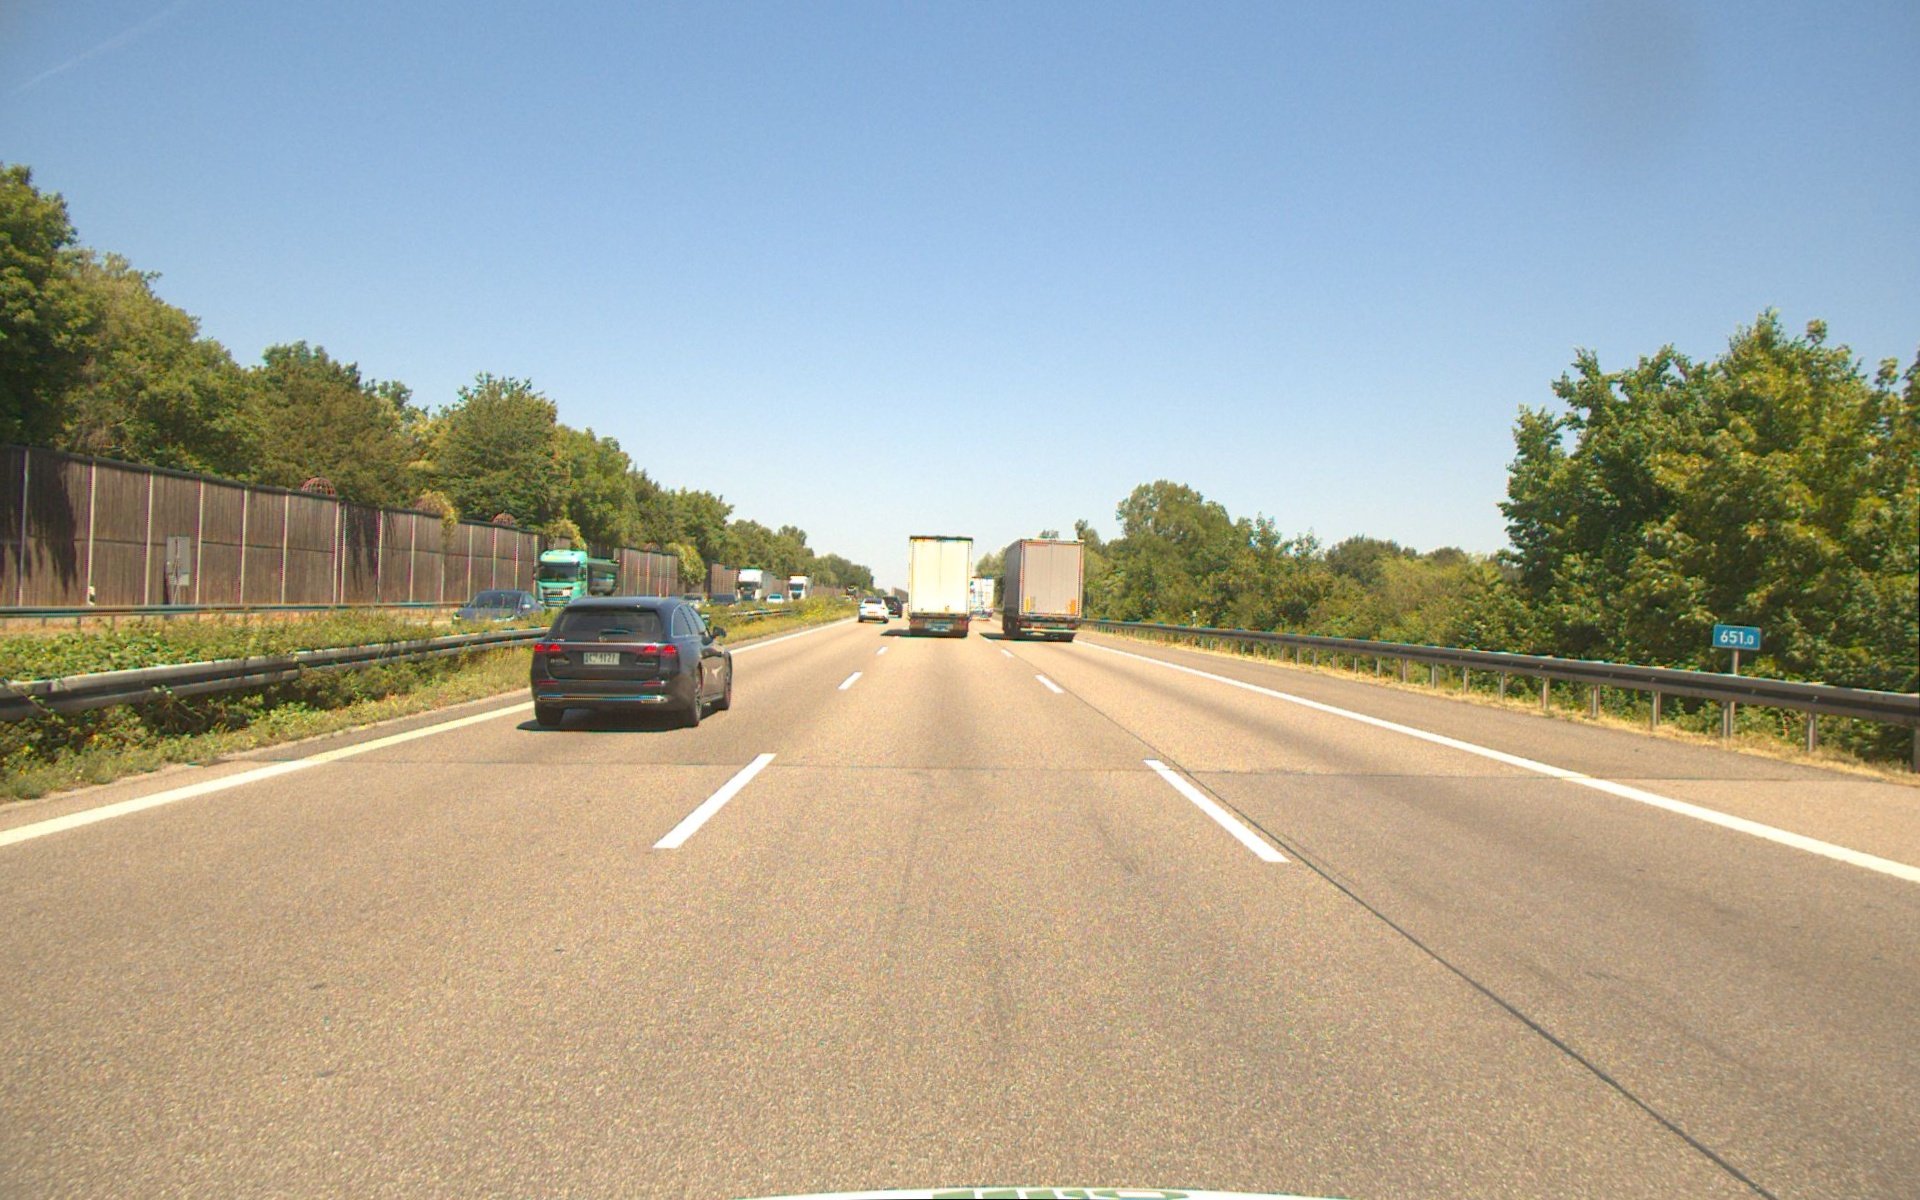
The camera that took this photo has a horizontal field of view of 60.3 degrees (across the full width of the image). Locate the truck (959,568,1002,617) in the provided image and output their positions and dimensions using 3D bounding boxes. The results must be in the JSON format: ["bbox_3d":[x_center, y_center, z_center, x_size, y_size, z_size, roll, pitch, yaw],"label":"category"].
[{"bbox_3d":[1.881,-0.725,160.452,3.307,4.378,11.444,4,0,-2],"label":"truck"}]

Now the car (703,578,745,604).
[{"bbox_3d":[-14.035,-0.554,98.452,1.917,1.471,4.458,1,0,-1],"label":"car"}]

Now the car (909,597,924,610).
[{"bbox_3d":[-5.538,0.427,210.964,1.818,1.645,3.998,1,0,-3],"label":"car"}]

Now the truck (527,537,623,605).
[{"bbox_3d":[-22.506,-1.650,97.500,3.027,3.739,12.364,1,0,-2],"label":"truck"}]

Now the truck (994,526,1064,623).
[{"bbox_3d":[3.184,-1.164,78.146,2.637,4.289,7.836,2,0,-2],"label":"truck"}]

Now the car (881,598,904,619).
[{"bbox_3d":[-5.569,0.659,136.195,1.818,1.645,3.998,1,0,-3],"label":"car"}]

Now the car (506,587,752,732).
[{"bbox_3d":[-3.929,0.616,20.716,1.904,1.533,5.821,1,1,0],"label":"car"}]

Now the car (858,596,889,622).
[{"bbox_3d":[-5.345,0.536,102.321,1.818,1.512,3.999,1,0,-2],"label":"car"}]

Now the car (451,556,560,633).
[{"bbox_3d":[-13.003,-0.160,47.551,1.953,1.981,3.999,4,0,-1],"label":"car"}]

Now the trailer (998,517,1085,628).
[{"bbox_3d":[3.358,-1.118,71.722,2.649,4.289,13.208,2,0,-2],"label":"trailer"}]

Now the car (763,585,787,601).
[{"bbox_3d":[-19.291,-0.721,172.484,1.953,1.618,4.492,1,0,-1],"label":"car"}]

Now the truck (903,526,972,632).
[{"bbox_3d":[-1.083,-0.885,72.718,2.652,4.157,13.469,2,0,-2],"label":"truck"}]

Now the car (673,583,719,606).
[{"bbox_3d":[-17.779,-0.378,111.641,1.825,1.466,5.089,1,0,6],"label":"car"}]

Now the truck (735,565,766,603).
[{"bbox_3d":[-23.628,-1.803,186.861,2.702,4.092,6.732,2,0,-2],"label":"truck"}]
